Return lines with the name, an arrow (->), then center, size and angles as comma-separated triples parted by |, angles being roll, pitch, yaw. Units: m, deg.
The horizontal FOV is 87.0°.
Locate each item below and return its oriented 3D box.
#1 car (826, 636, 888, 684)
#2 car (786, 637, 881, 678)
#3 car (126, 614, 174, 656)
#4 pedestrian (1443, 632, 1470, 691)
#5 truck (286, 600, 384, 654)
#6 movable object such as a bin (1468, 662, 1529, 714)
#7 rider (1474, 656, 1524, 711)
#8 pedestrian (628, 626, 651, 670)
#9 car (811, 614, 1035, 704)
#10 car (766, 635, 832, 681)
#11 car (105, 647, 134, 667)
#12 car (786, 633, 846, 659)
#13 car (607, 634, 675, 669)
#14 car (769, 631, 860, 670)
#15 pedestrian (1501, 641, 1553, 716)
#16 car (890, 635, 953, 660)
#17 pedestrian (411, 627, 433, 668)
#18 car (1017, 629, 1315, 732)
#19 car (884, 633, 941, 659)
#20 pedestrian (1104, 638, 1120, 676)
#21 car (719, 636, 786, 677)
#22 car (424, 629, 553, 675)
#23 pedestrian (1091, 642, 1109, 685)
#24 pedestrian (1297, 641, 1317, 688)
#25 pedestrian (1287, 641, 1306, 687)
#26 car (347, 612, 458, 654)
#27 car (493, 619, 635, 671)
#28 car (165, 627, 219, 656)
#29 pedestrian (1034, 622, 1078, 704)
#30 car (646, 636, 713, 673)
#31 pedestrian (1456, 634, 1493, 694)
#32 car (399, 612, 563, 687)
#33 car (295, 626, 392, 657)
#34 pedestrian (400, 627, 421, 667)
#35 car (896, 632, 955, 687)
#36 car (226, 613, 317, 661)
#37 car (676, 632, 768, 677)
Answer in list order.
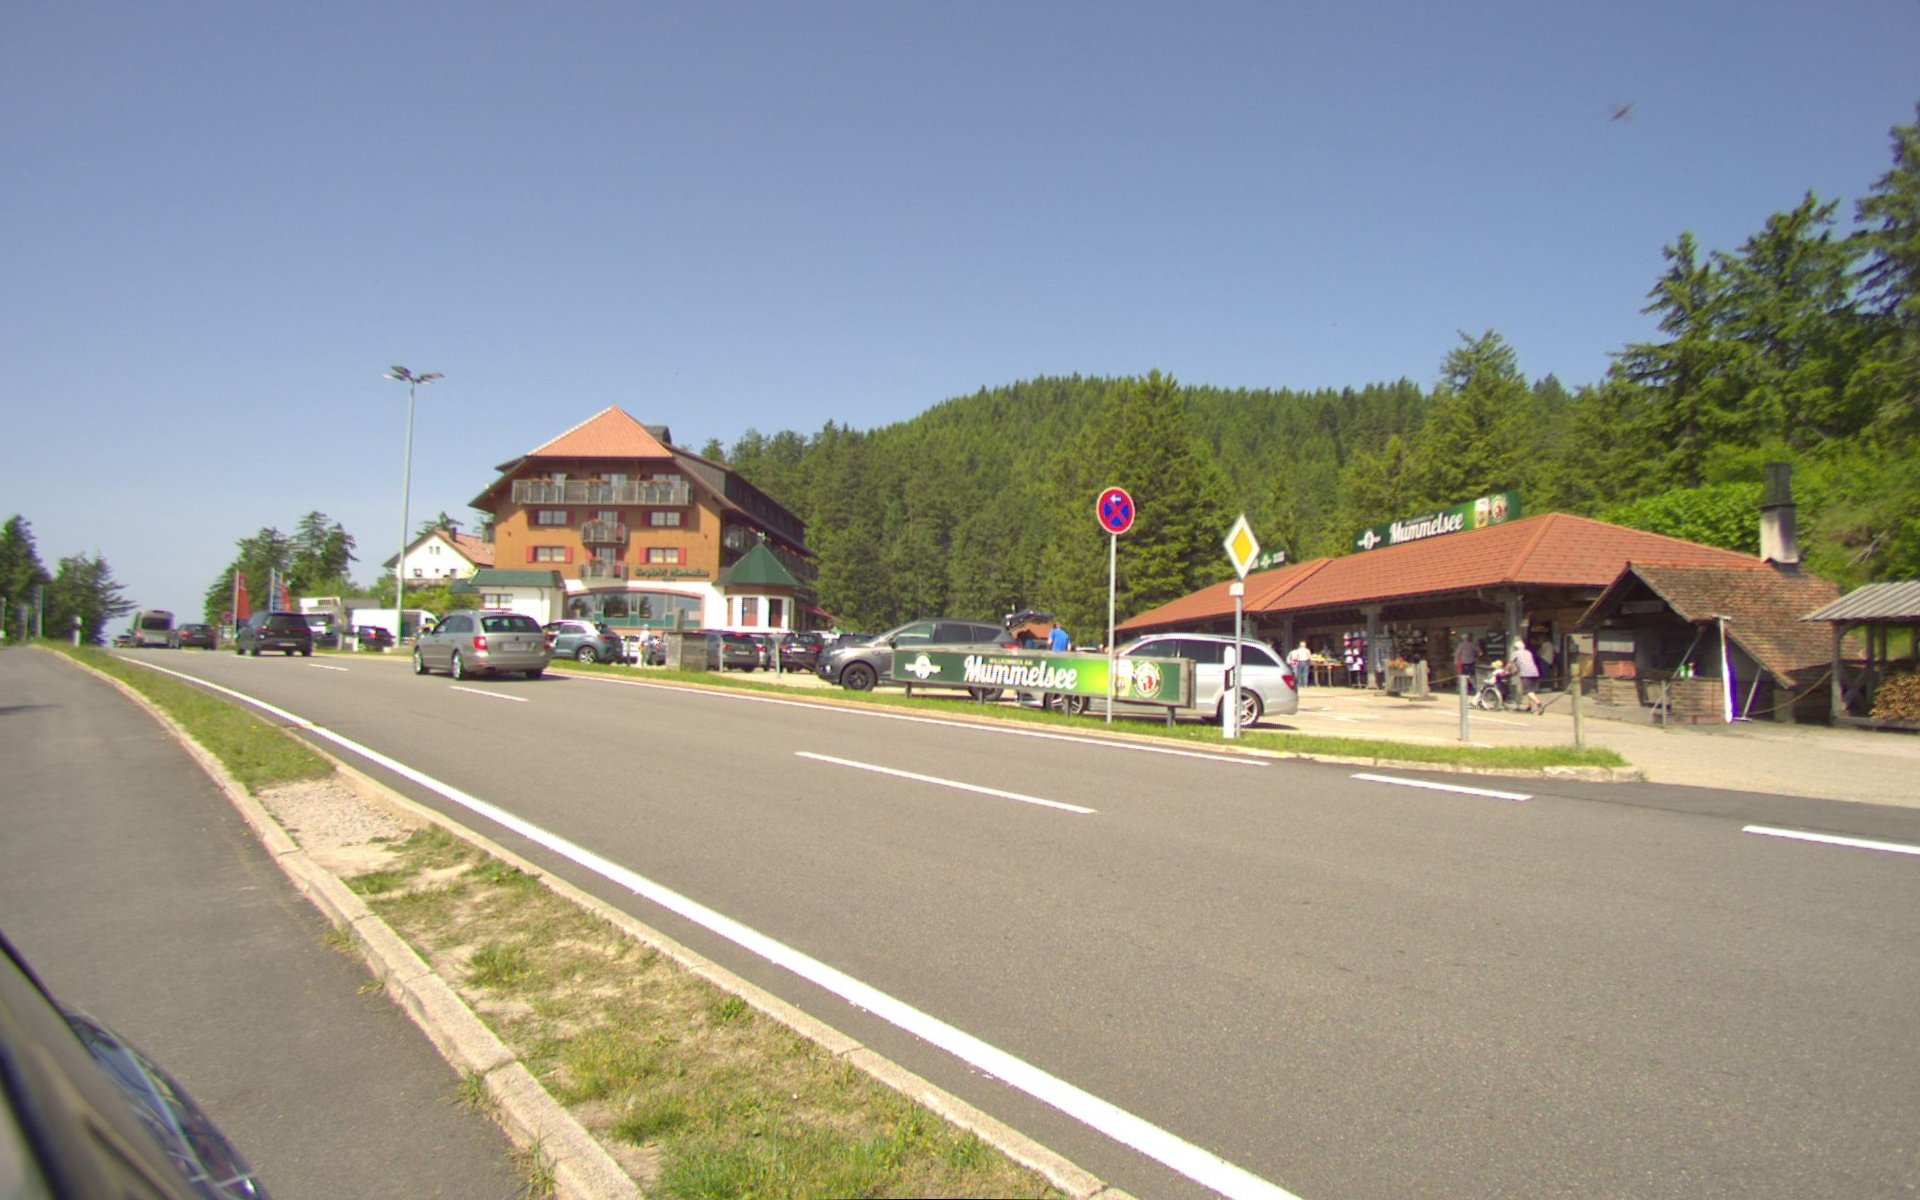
car -> -3.788, 2.220, 37.833 | 1.799, 1.641, 4.093 | 2, -3, 1
car -> -5.602, 2.561, 45.162 | 4.036, 1.641, 1.824 | 2, -3, -1
car -> -57.067, 2.438, 71.254 | 1.988, 2.772, 5.921 | 4, -3, -44
pedestrian -> 15.196, 1.877, 30.980 | 0.555, 1.750, 0.663 | -1, -3, 43
truck -> -47.443, 2.072, 77.178 | 2.839, 3.850, 9.030 | 0, -2, -7
movable object such as a bin -> 13.263, 2.153, 24.961 | 0.972, 1.198, 1.213 | 1, -2, 9
rider -> 13.242, 2.049, 24.884 | 0.830, 1.284, 0.906 | 1, -2, 9
pedestrian -> -12.026, 1.802, 37.974 | 0.734, 1.637, 0.685 | 2, -2, -15
car -> -0.786, 1.234, 21.294 | 4.485, 1.668, 1.723 | 2, -3, -3
car -> -6.158, 2.208, 39.132 | 1.799, 1.641, 4.093 | 2, -3, 1
car -> -78.027, 5.307, 93.920 | 1.696, 1.695, 4.133 | 3, -3, -44
car -> -10.351, 3.330, 72.863 | 4.037, 1.729, 1.920 | 2, -3, 0
car -> -14.768, 2.371, 47.032 | 1.799, 1.524, 4.093 | 2, -3, 1
car -> -6.847, 2.386, 47.966 | 4.036, 1.641, 1.824 | 2, -3, -1
pedestrian -> 13.335, 1.834, 23.827 | 0.830, 1.712, 0.801 | 1, -2, 9
car -> -2.932, 3.640, 77.869 | 4.778, 1.729, 1.920 | 2, -3, 0
pedestrian -> -26.542, 2.340, 49.920 | 0.803, 2.029, 0.707 | -1, -3, 44
car -> 3.225, 1.282, 16.458 | 4.439, 1.441, 1.722 | 2, -3, 0
car -> -3.458, 3.349, 73.802 | 4.037, 1.729, 1.920 | 2, -3, 0
pedestrian -> 8.195, 3.054, 54.522 | 0.682, 2.029, 0.753 | 1, -2, -4
car -> -8.361, 2.262, 41.055 | 1.799, 1.524, 4.093 | 2, -3, 1
car -> -18.621, 2.045, 40.103 | 4.209, 1.641, 1.824 | 2, -3, -1
pedestrian -> 6.774, 3.061, 48.932 | 0.682, 2.029, 0.753 | 1, -2, -4
pedestrian -> 12.479, 2.303, 36.376 | 0.500, 1.668, 0.472 | 1, -2, -10
pedestrian -> 12.319, 2.341, 37.034 | 0.500, 1.668, 0.472 | 1, -2, -10
car -> -40.405, 2.431, 73.626 | 6.844, 2.812, 2.675 | 3, -3, -26
car -> -13.751, 1.579, 35.341 | 4.209, 1.641, 1.824 | 2, -3, -1
car -> -42.137, 2.251, 55.492 | 4.451, 1.449, 1.687 | -1, -3, 44
pedestrian -> 1.984, 1.300, 21.083 | 0.735, 1.648, 0.848 | 2, -2, -5
car -> -12.575, 2.435, 45.588 | 1.799, 1.524, 4.093 | 2, -3, 1
pedestrian -> 15.301, 1.885, 30.100 | 0.741, 1.750, 0.801 | 1, -2, 9
car -> -10.720, 1.028, 22.462 | 1.857, 1.485, 4.717 | 1, -2, -44
car -> -33.074, 2.236, 54.393 | 4.032, 1.539, 1.826 | 2, -3, -5
pedestrian -> -28.205, 2.416, 51.919 | 0.803, 2.029, 0.707 | -1, -3, 44
car -> -1.188, 2.036, 35.323 | 1.893, 1.729, 4.095 | 2, -3, -1
car -> -25.633, 1.367, 37.629 | 1.970, 1.660, 4.570 | 3, -3, -44
car -> -8.559, 1.919, 36.197 | 1.694, 1.441, 4.009 | 4, -3, -36
